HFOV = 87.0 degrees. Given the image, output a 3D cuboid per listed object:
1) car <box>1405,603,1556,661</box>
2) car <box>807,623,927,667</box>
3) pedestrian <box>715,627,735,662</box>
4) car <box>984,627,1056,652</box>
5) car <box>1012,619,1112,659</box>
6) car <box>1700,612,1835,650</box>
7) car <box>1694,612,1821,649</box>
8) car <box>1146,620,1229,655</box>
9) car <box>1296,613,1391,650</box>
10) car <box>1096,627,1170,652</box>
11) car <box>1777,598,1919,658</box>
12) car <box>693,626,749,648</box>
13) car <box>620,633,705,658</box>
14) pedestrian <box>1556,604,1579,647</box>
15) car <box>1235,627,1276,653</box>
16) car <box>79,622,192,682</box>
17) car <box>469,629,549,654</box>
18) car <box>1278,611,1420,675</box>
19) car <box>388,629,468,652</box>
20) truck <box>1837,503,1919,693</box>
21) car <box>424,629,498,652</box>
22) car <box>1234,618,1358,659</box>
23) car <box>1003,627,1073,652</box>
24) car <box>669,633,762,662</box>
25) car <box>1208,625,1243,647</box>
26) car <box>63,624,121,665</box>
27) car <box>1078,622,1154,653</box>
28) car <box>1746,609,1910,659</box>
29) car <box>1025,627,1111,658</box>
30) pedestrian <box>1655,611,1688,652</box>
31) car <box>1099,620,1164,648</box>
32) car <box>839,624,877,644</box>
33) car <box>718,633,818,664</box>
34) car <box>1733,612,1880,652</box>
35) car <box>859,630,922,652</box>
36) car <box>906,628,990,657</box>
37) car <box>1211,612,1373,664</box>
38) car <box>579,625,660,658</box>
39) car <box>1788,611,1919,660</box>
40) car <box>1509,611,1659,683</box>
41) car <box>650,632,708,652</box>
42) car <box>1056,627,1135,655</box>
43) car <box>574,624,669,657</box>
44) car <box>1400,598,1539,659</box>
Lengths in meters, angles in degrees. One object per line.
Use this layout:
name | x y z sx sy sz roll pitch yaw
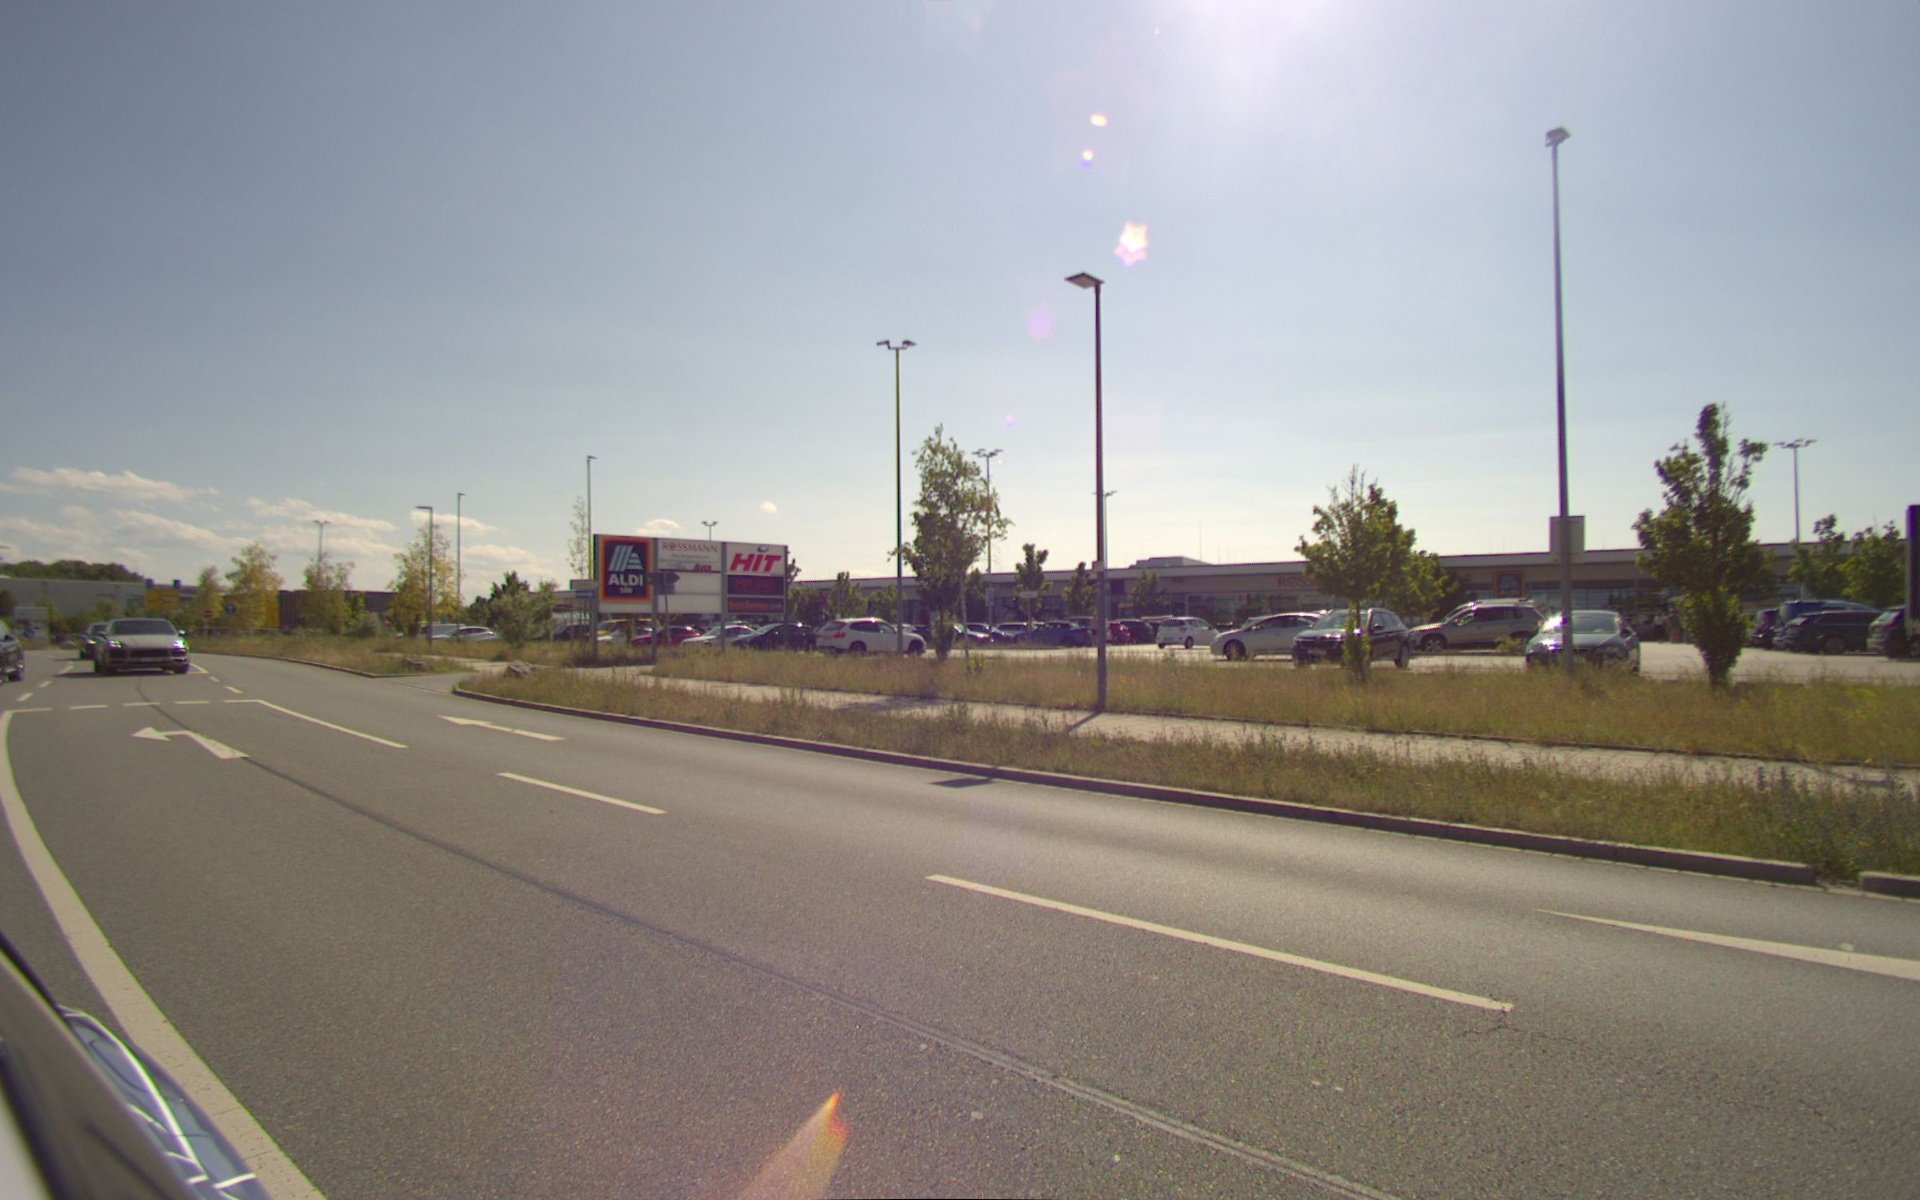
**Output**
car | 17.345 1.076 33.889 4.362 1.837 1.820 -1 -2 29
car | -3.456 1.658 38.058 4.160 1.559 1.920 1 -2 -41
pedestrian | -11.502 2.182 49.493 0.755 1.708 0.579 1 -2 -42
car | 3.864 2.525 65.008 4.333 1.556 1.701 -1 -3 27
car | 5.242 2.024 52.212 4.810 2.001 1.701 -1 -3 27
car | 35.681 1.379 44.856 4.362 1.645 1.820 -1 -2 29
car | 37.229 1.435 47.369 4.362 1.635 1.820 -1 -2 29
car | 10.844 1.763 48.113 3.938 1.559 1.920 1 -2 -42
car | 19.358 1.603 51.091 4.355 1.807 1.902 -1 -2 24
car | 11.023 2.536 64.493 4.333 1.548 1.701 -1 -3 27
car | 31.438 0.980 35.207 4.362 2.009 1.820 -1 -2 29
car | -19.803 3.093 83.804 4.566 1.754 1.699 -2 -3 30
car | -16.579 2.529 56.501 4.094 1.358 1.938 2 -3 -42
pedestrian | 24.850 1.043 41.400 0.717 1.762 0.654 -1 -2 29
car | 18.548 2.485 63.461 1.830 1.559 3.965 -1 -2 25
car | -25.154 1.603 30.819 4.777 1.656 2.086 -4 -3 43
car | -31.122 2.846 69.875 1.999 1.685 4.652 -2 -3 41
car | 9.923 1.060 25.622 1.838 1.469 4.526 -2 -2 42
car | -41.071 3.106 78.257 1.995 1.685 5.136 -2 -3 34
truck | 19.922 -0.093 16.933 2.284 3.491 7.517 1 -2 -29
car | -37.071 3.020 75.264 1.998 1.685 4.543 -2 -3 39
car | 13.128 1.493 39.571 4.362 1.523 1.820 -1 -2 29
car | 5.196 2.628 67.548 4.333 1.628 1.701 -1 -3 27
car | -12.110 2.326 50.278 4.094 1.358 1.938 2 -3 -42
car | 20.395 2.751 77.689 1.709 1.646 4.313 -2 -3 27
car | -38.206 1.958 44.506 1.731 1.700 4.385 2 -3 -43
car | 9.540 2.321 61.936 4.333 1.865 1.701 -1 -3 27
car | 32.610 1.291 38.194 4.362 1.787 1.820 -1 -2 29
car | 5.830 2.308 54.954 4.333 1.593 1.701 -1 -3 27
pedestrian | 36.931 1.638 52.550 1.245 2.064 1.082 -1 -2 28
car | 12.350 2.487 73.072 4.333 1.974 1.701 -1 -3 27
car | -9.521 3.230 94.965 1.706 1.821 4.322 -1 -2 22
car | -8.780 2.196 46.424 4.094 1.358 1.938 2 -3 -42
car | 35.059 1.331 42.092 4.362 1.604 1.820 -1 -2 29
car | -5.024 2.978 73.280 4.333 1.544 1.701 -1 -3 27
car | -0.690 2.314 55.337 4.333 1.528 1.701 -1 -3 27
car | 10.504 1.197 32.104 4.604 1.523 1.819 -1 -2 31
car | -20.128 2.439 59.867 4.095 1.875 1.934 2 -3 -44
car | 30.103 1.154 33.046 4.358 1.574 1.822 -1 -2 26
car | 13.532 0.967 21.820 1.975 1.394 4.376 -2 -2 42
car | -21.807 3.255 78.640 4.331 1.538 1.702 -1 -3 26
car | 7.977 2.422 59.797 4.333 1.588 1.701 -1 -3 27
car | -21.771 2.606 65.318 1.997 1.980 5.627 -2 -3 38
car | 18.362 1.044 36.589 4.362 2.080 1.820 -1 -2 29
